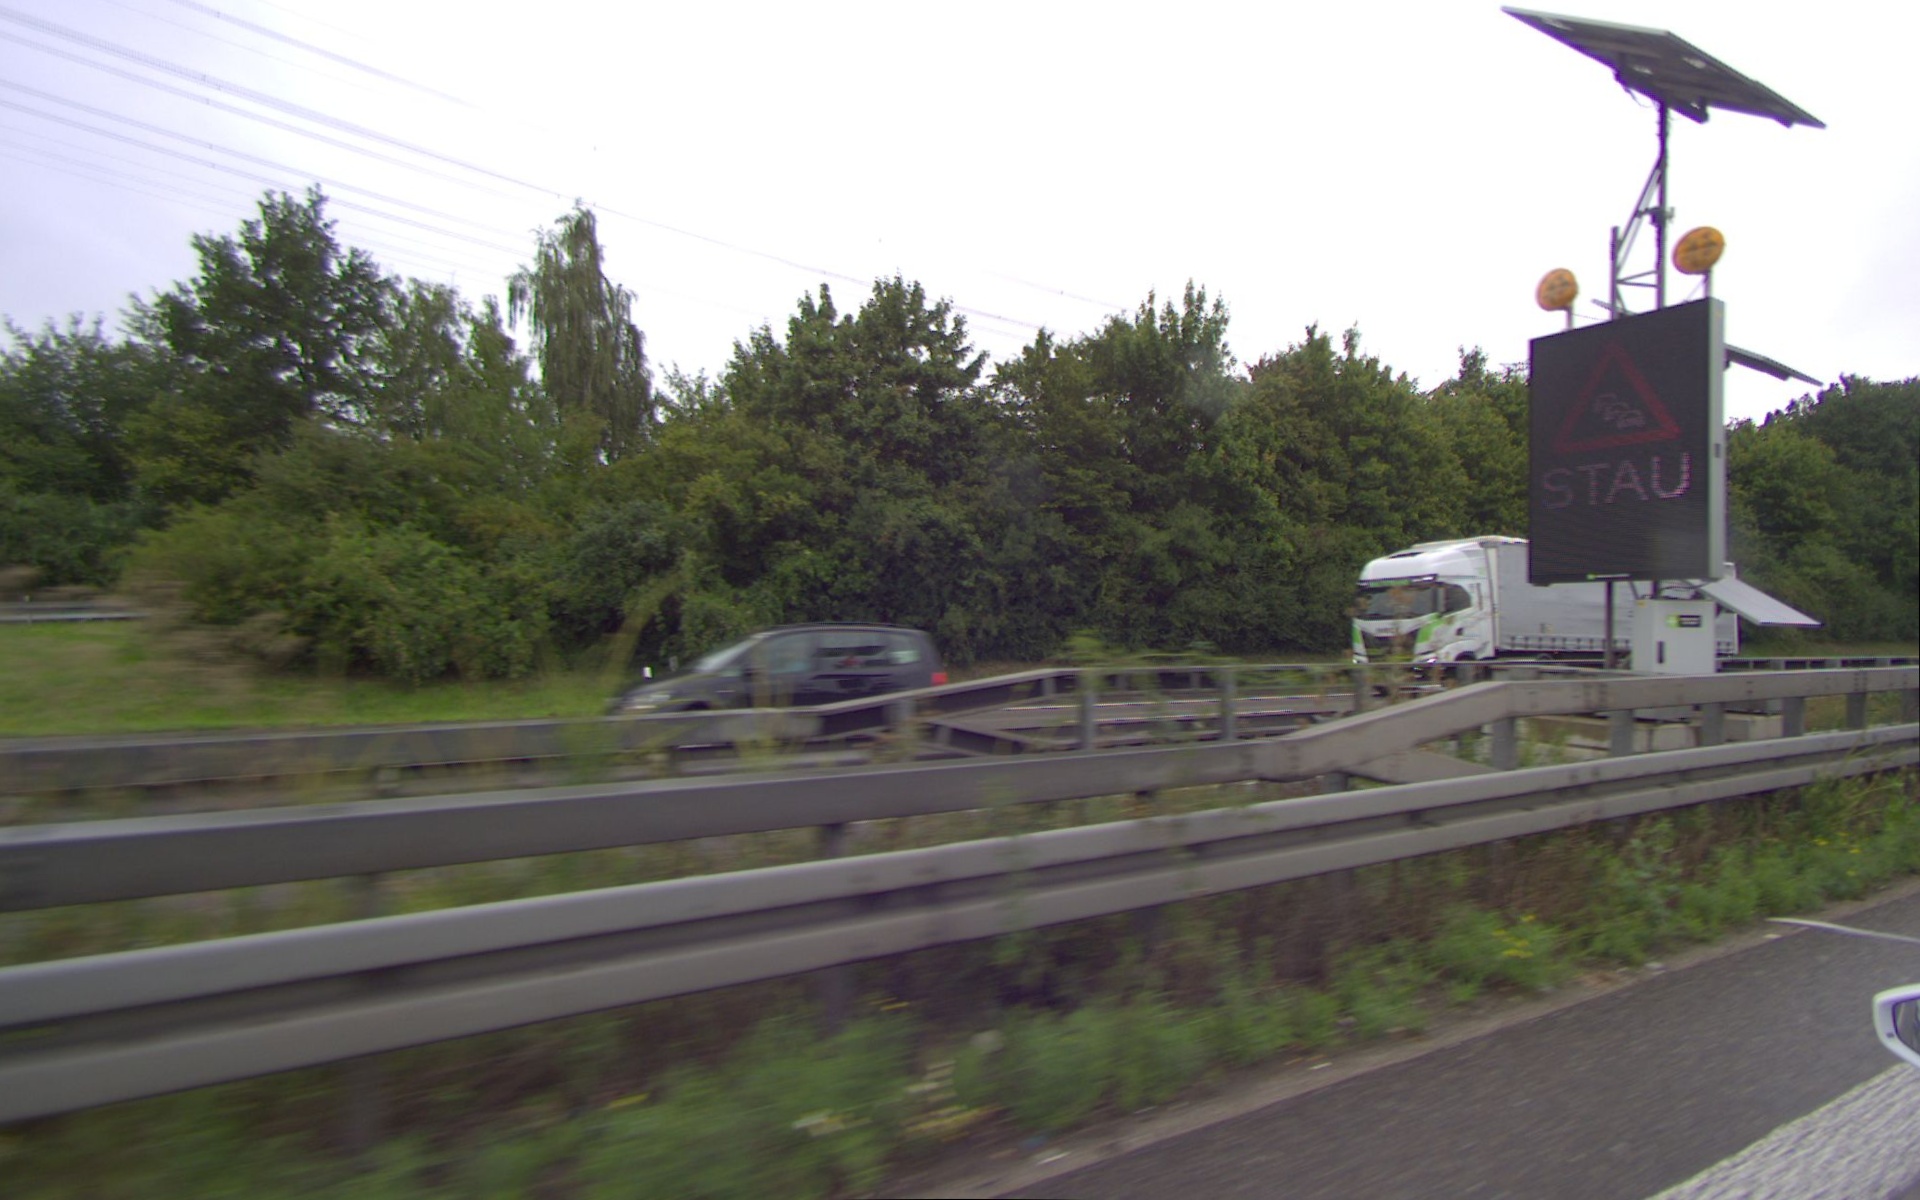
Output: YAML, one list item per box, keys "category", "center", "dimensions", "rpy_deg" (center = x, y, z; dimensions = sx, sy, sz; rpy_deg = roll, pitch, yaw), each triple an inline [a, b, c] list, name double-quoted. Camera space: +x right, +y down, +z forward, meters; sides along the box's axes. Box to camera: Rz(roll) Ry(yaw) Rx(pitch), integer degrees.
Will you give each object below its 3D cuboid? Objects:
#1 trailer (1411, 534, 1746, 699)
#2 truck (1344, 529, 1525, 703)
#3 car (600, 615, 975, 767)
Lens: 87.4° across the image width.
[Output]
- category: "trailer"
  center: [19.369, 0.567, 30.821]
  dimensions: [13.747, 4.293, 2.631]
  rpy_deg: [1, -1, -30]
- category: "truck"
  center: [12.675, 0.442, 26.889]
  dimensions: [3.953, 4.293, 2.631]
  rpy_deg: [1, -1, -30]
- category: "car"
  center: [-2.147, 1.056, 12.912]
  dimensions: [4.420, 1.660, 1.816]
  rpy_deg: [1, -2, -31]
